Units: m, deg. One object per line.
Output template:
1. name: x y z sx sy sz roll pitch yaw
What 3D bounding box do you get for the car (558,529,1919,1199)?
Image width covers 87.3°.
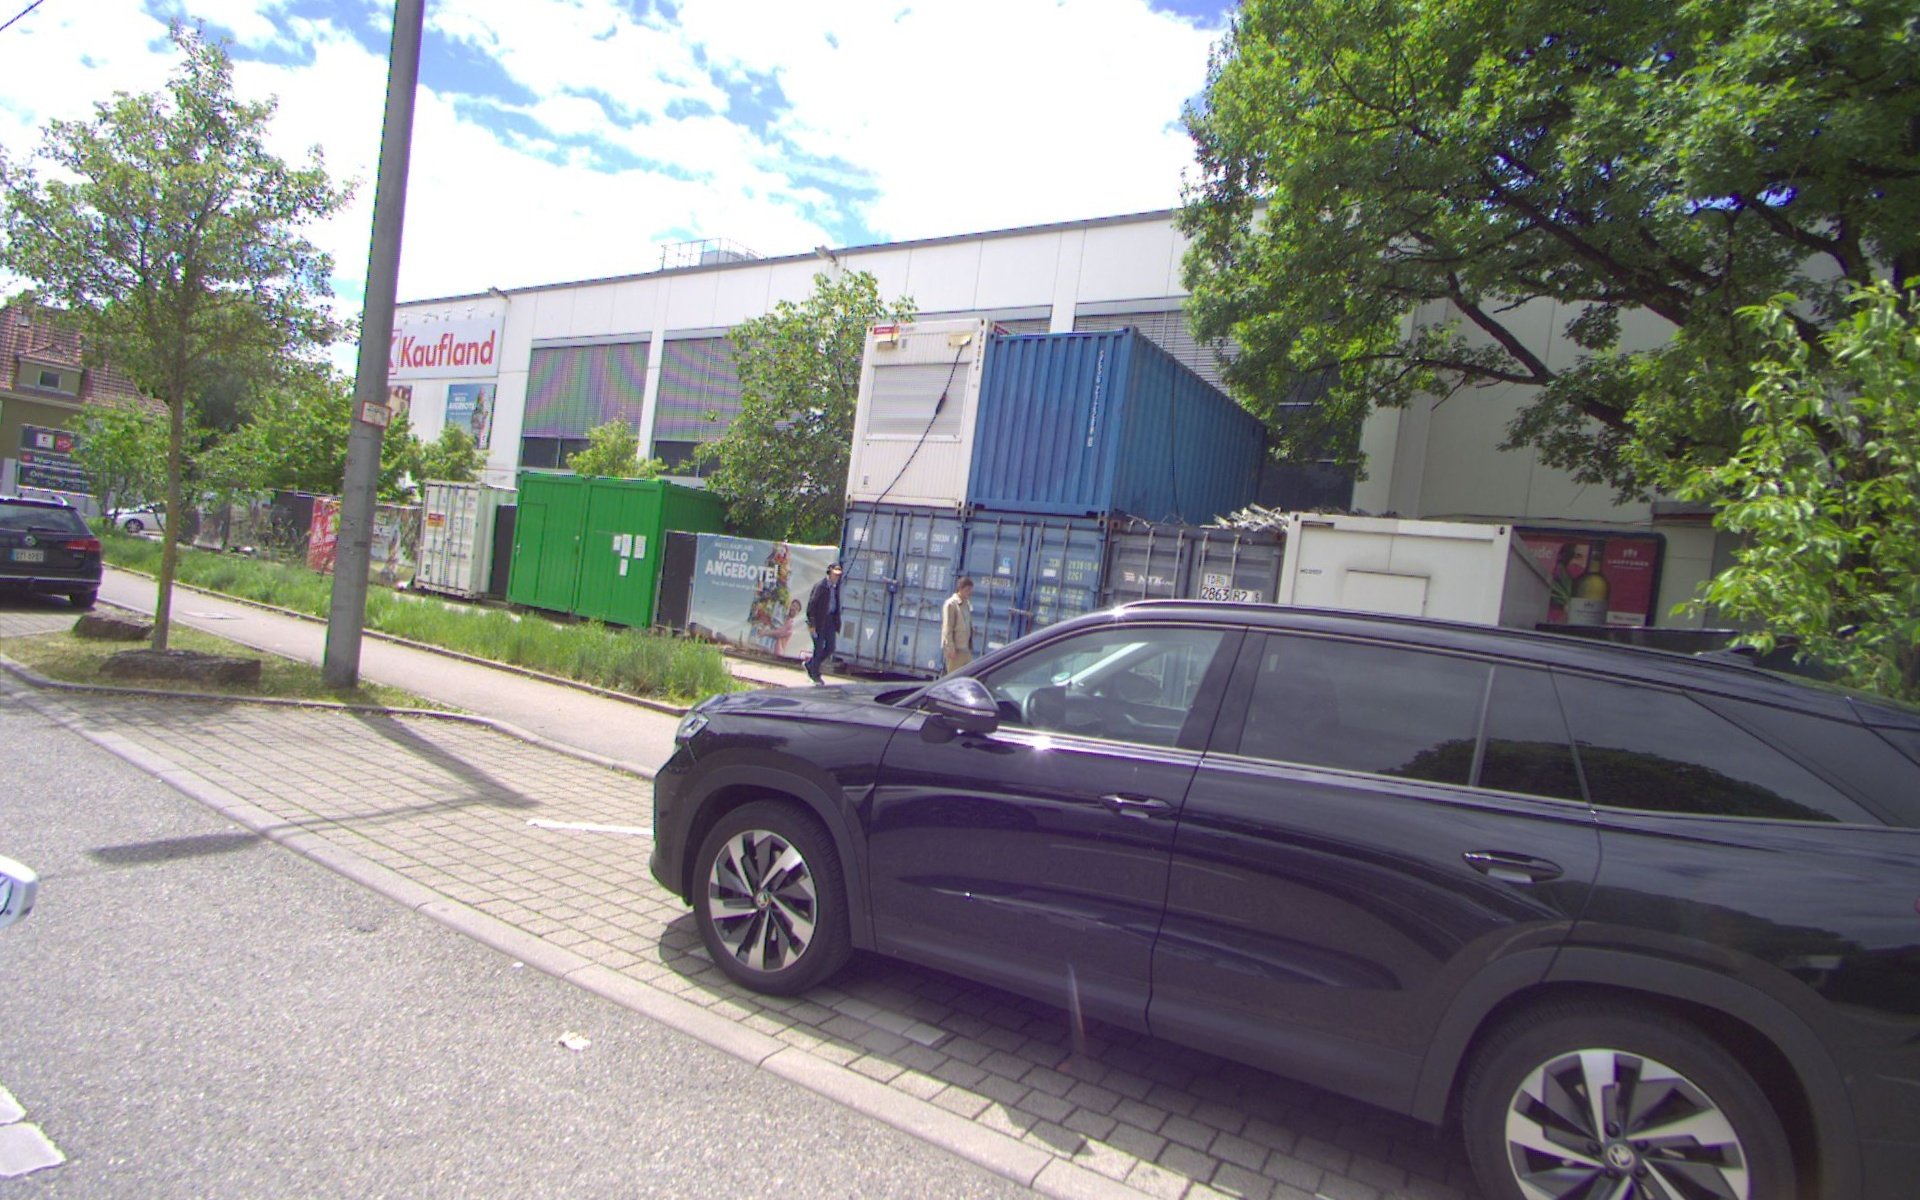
1. car: 0.959 0.808 3.822 4.762 1.642 1.881 6 1 28

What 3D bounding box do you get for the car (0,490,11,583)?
1. car: -17.734 -1.261 17.195 3.940 1.512 1.567 6 1 38

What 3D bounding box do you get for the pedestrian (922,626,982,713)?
1. pedestrian: -0.106 0.916 13.312 0.558 1.071 0.411 7 0 35

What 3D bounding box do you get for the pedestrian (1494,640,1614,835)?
1. pedestrian: 5.497 1.240 9.304 0.755 1.638 0.743 7 0 35

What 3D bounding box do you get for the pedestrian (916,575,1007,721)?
1. pedestrian: 0.020 0.598 12.584 0.713 1.717 0.651 7 0 35

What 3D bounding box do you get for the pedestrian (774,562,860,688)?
1. pedestrian: -2.083 0.366 14.648 0.831 1.718 0.652 7 0 35

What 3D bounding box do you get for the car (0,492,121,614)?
1. car: -13.789 -0.795 14.240 4.859 1.497 1.763 6 2 36

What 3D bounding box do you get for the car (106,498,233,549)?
1. car: -34.445 -3.317 43.935 1.583 1.627 3.986 8 1 35
